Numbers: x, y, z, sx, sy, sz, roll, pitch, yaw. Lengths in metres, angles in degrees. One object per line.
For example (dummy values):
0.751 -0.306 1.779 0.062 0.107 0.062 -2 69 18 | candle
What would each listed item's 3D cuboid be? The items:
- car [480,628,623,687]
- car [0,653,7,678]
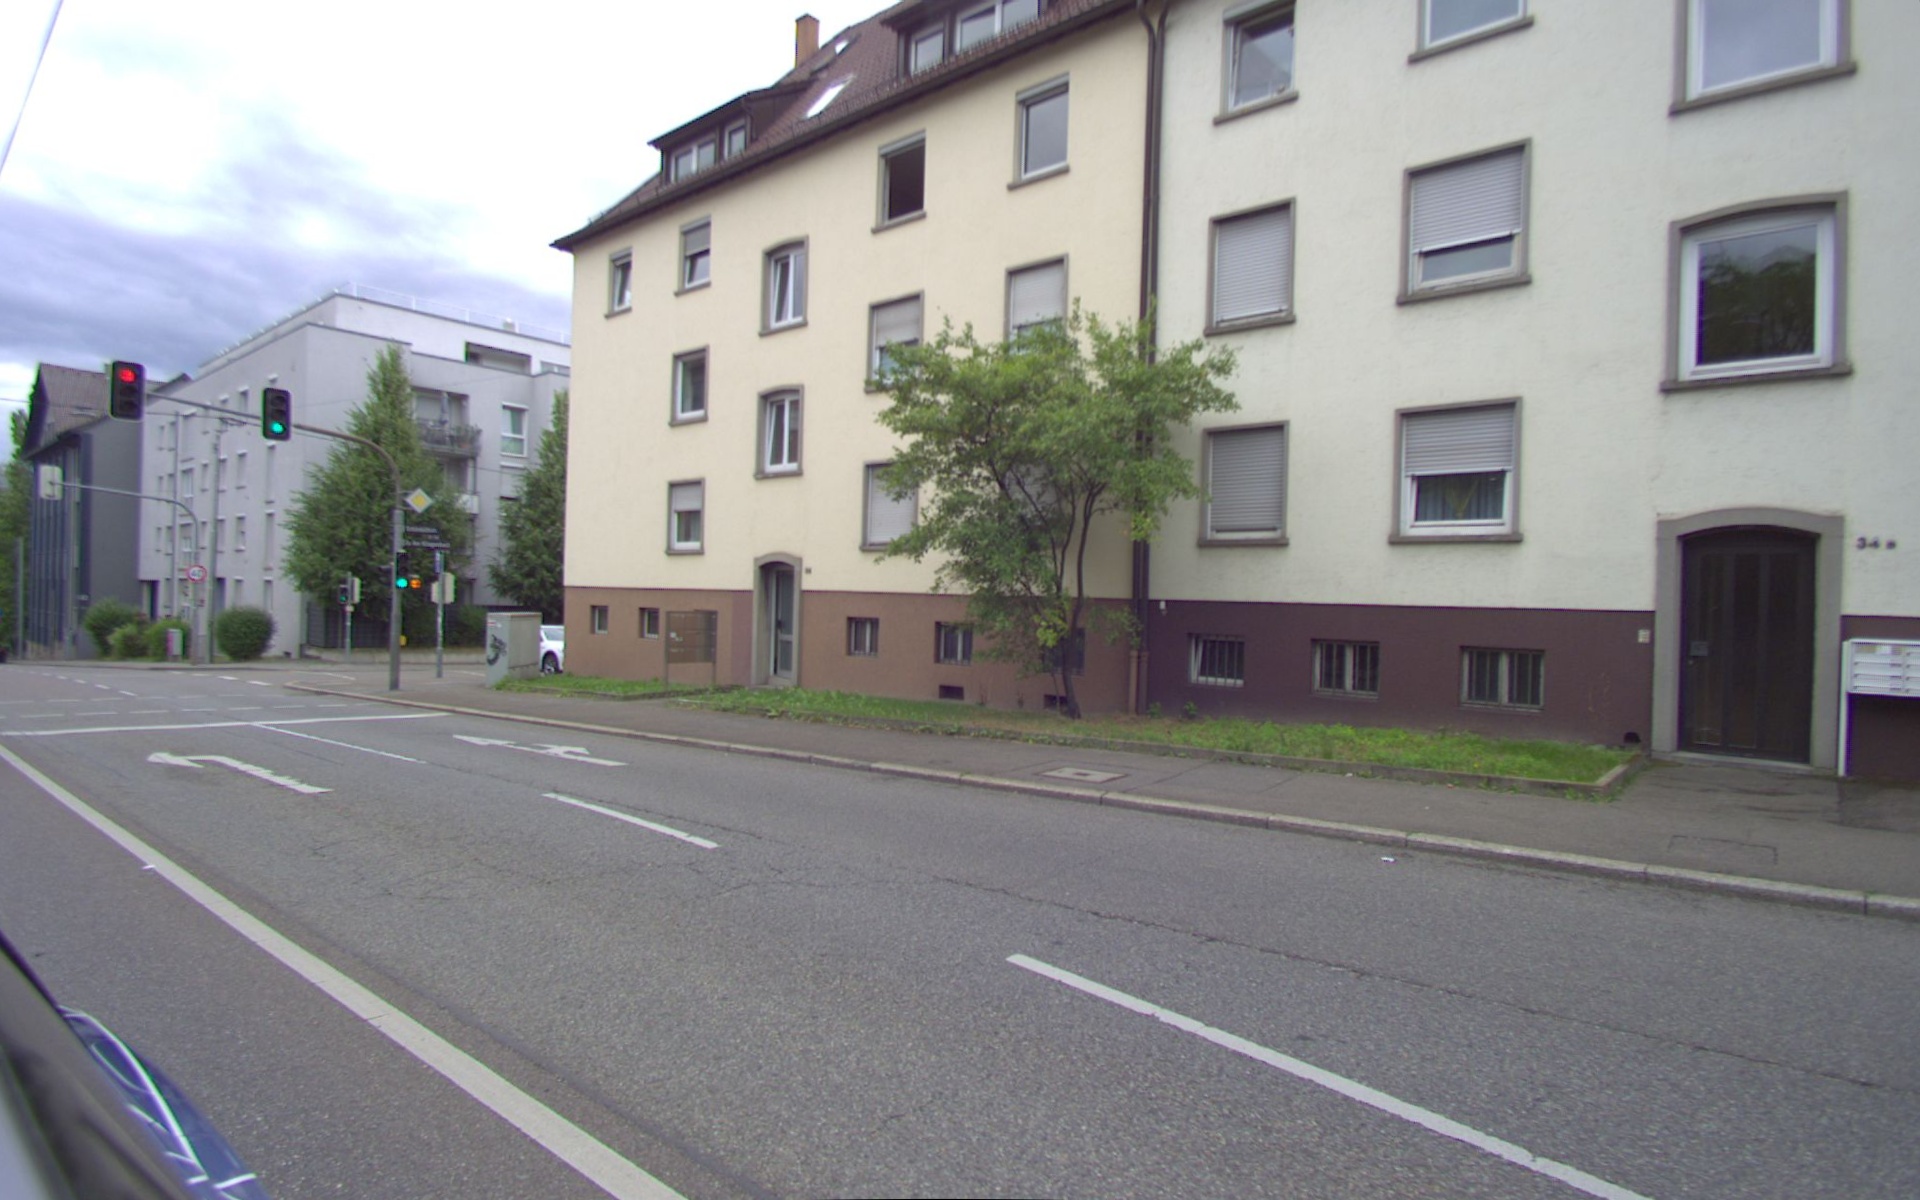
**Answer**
-11.623 1.658 28.699 4.252 1.549 1.797 -3 -5 37 | car
-57.375 3.851 59.362 3.998 1.420 1.776 -2 -3 42 | car
